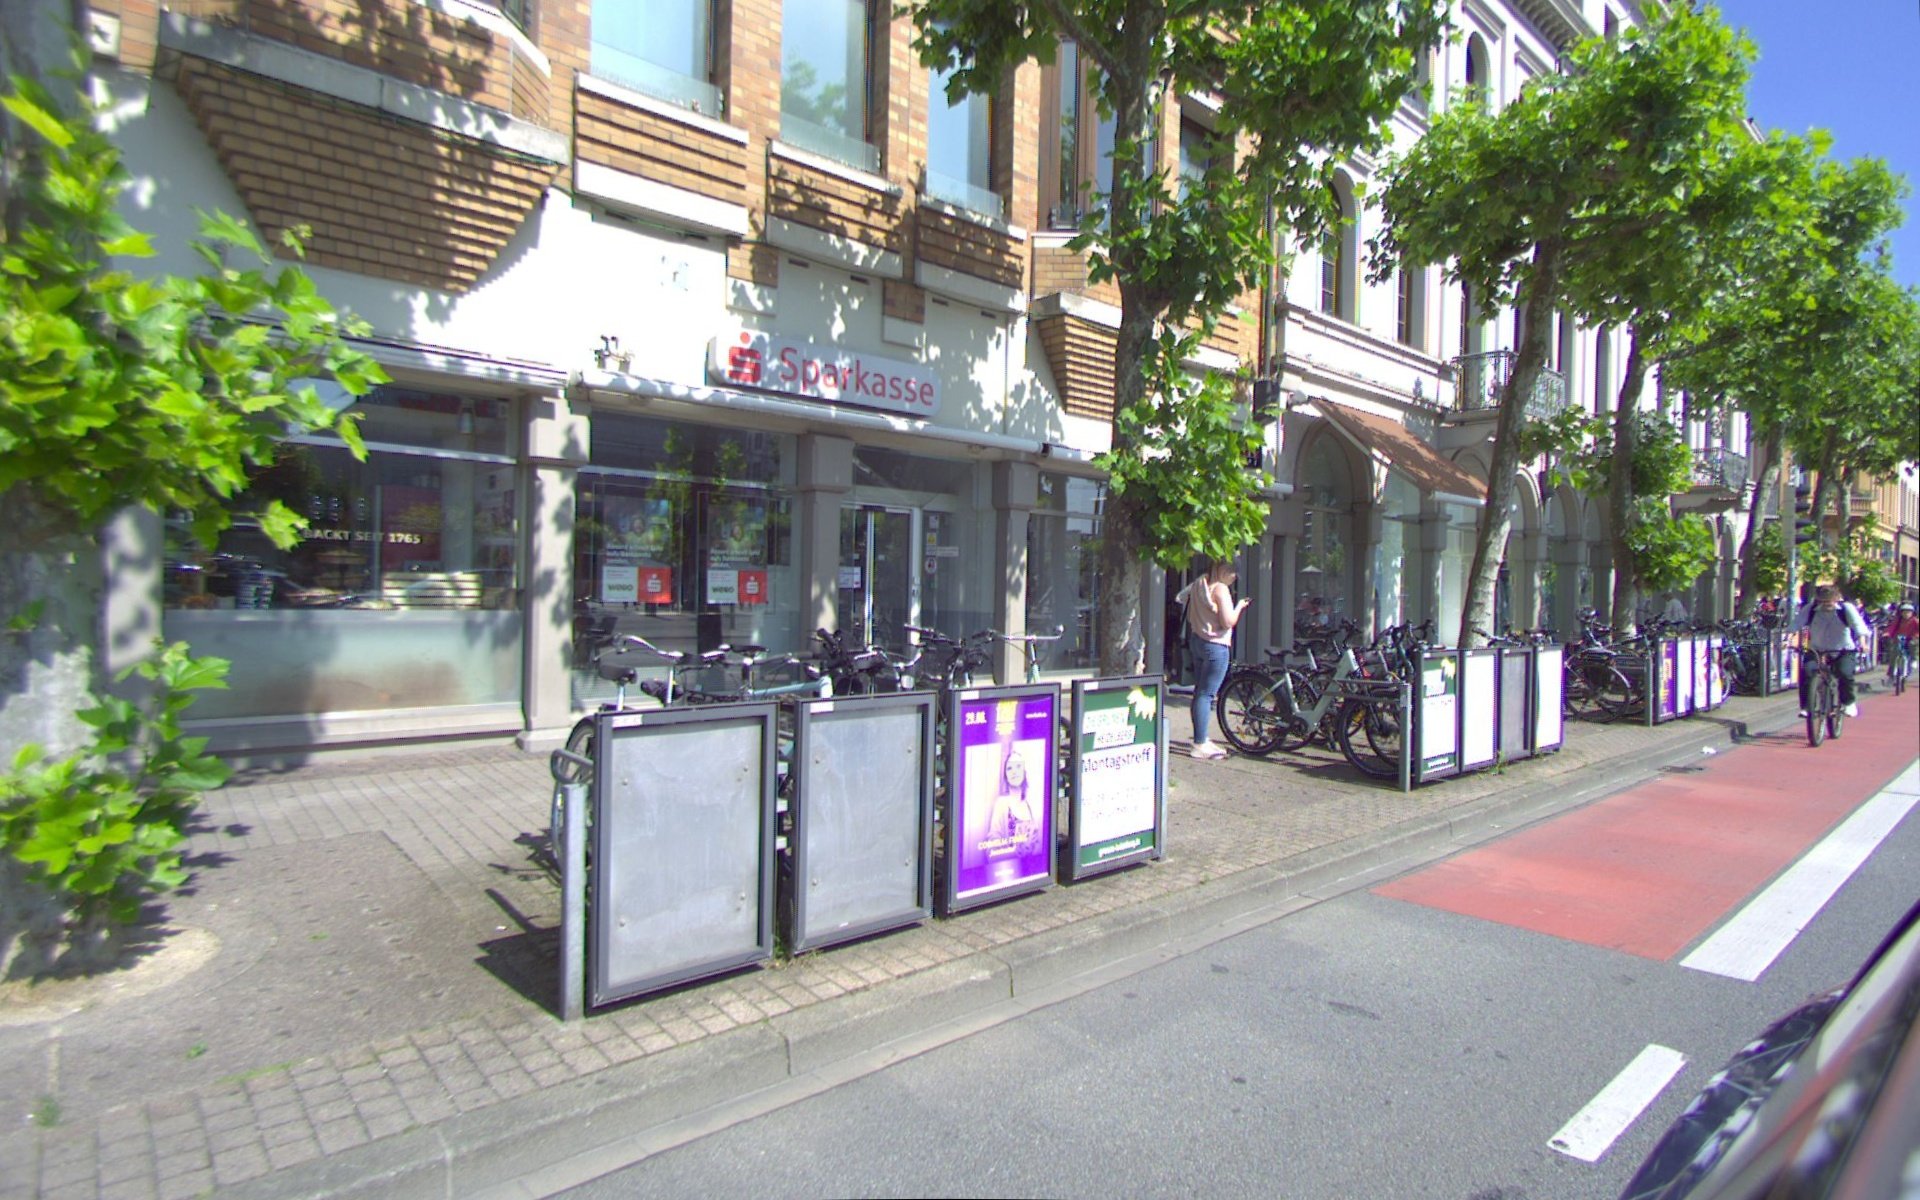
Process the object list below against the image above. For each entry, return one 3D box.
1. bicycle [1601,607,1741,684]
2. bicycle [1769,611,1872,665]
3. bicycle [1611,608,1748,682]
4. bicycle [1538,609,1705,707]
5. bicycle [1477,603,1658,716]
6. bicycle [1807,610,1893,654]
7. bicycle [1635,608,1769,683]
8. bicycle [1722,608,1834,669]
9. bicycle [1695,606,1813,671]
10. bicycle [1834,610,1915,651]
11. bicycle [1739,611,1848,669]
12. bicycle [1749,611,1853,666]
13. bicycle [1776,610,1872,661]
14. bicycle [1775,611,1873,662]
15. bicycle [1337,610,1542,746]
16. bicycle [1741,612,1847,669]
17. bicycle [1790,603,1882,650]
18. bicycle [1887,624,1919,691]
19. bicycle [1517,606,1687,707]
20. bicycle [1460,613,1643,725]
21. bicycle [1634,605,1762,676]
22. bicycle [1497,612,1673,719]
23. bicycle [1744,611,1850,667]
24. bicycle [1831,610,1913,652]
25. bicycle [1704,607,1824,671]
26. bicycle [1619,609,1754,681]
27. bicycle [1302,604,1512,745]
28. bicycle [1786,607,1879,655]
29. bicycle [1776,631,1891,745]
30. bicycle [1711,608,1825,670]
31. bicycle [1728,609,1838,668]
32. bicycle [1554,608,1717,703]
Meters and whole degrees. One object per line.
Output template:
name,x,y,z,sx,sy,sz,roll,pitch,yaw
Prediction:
bicycle,11.292,0.699,16.115,0.474,1.119,1.755,1,0,-42
bicycle,19.900,0.852,23.443,0.582,1.161,1.755,1,1,-42
bicycle,11.675,0.697,16.469,0.474,1.101,1.755,1,0,-42
bicycle,8.625,0.717,13.255,0.518,1.161,1.755,1,0,-42
bicycle,7.147,0.662,11.981,0.474,1.202,1.755,1,1,-42
bicycle,24.947,0.881,28.384,0.582,1.161,1.755,1,1,-42
bicycle,12.556,0.738,17.169,0.474,1.161,1.755,1,0,-42
bicycle,16.971,0.775,21.035,0.474,1.161,1.755,1,0,-42
bicycle,15.931,0.750,20.339,0.474,1.209,1.802,1,0,-42
bicycle,27.550,0.901,30.496,0.582,1.161,1.755,1,1,-42
bicycle,17.938,0.839,21.805,0.474,1.161,1.755,1,0,-42
bicycle,19.167,0.851,23.093,0.582,1.161,1.755,1,1,-42
bicycle,21.404,0.862,25.095,0.582,1.161,1.755,1,1,-42
bicycle,20.913,0.862,24.519,0.582,1.161,1.755,1,1,-42
bicycle,4.632,0.708,9.881,0.491,1.161,1.755,1,0,-42
bicycle,18.276,0.869,22.208,0.474,1.161,1.755,1,0,-42
bicycle,22.882,0.674,26.447,0.582,1.161,1.755,1,1,-42
bicycle,16.570,0.968,17.424,1.788,1.107,0.735,1,-1,-43
bicycle,8.136,0.676,12.886,0.474,1.161,1.755,1,0,-42
bicycle,6.757,0.747,11.637,0.474,1.137,1.755,1,0,-42
bicycle,13.037,0.693,17.919,0.474,1.161,1.755,1,0,-42
bicycle,7.575,0.753,12.333,0.474,1.161,1.755,1,0,-42
bicycle,18.683,0.848,22.609,0.582,1.161,1.755,1,1,-42
bicycle,27.043,0.897,30.022,0.582,1.161,1.755,1,1,-42
bicycle,15.720,0.736,19.825,0.474,1.161,1.776,1,0,-42
bicycle,12.038,0.716,16.814,0.474,1.082,1.755,1,1,-42
bicycle,4.133,0.643,9.475,0.474,1.161,1.755,1,0,-42
bicycle,22.419,0.783,26.031,0.582,1.161,1.755,1,1,-42
bicycle,9.634,0.918,11.136,1.865,1.107,0.735,0,-1,-43
bicycle,16.480,0.777,20.678,0.474,1.161,1.755,1,0,-42
bicycle,17.435,0.796,21.471,0.474,1.161,1.755,1,0,-42
bicycle,9.050,0.709,13.624,0.474,1.161,1.755,1,0,-42
